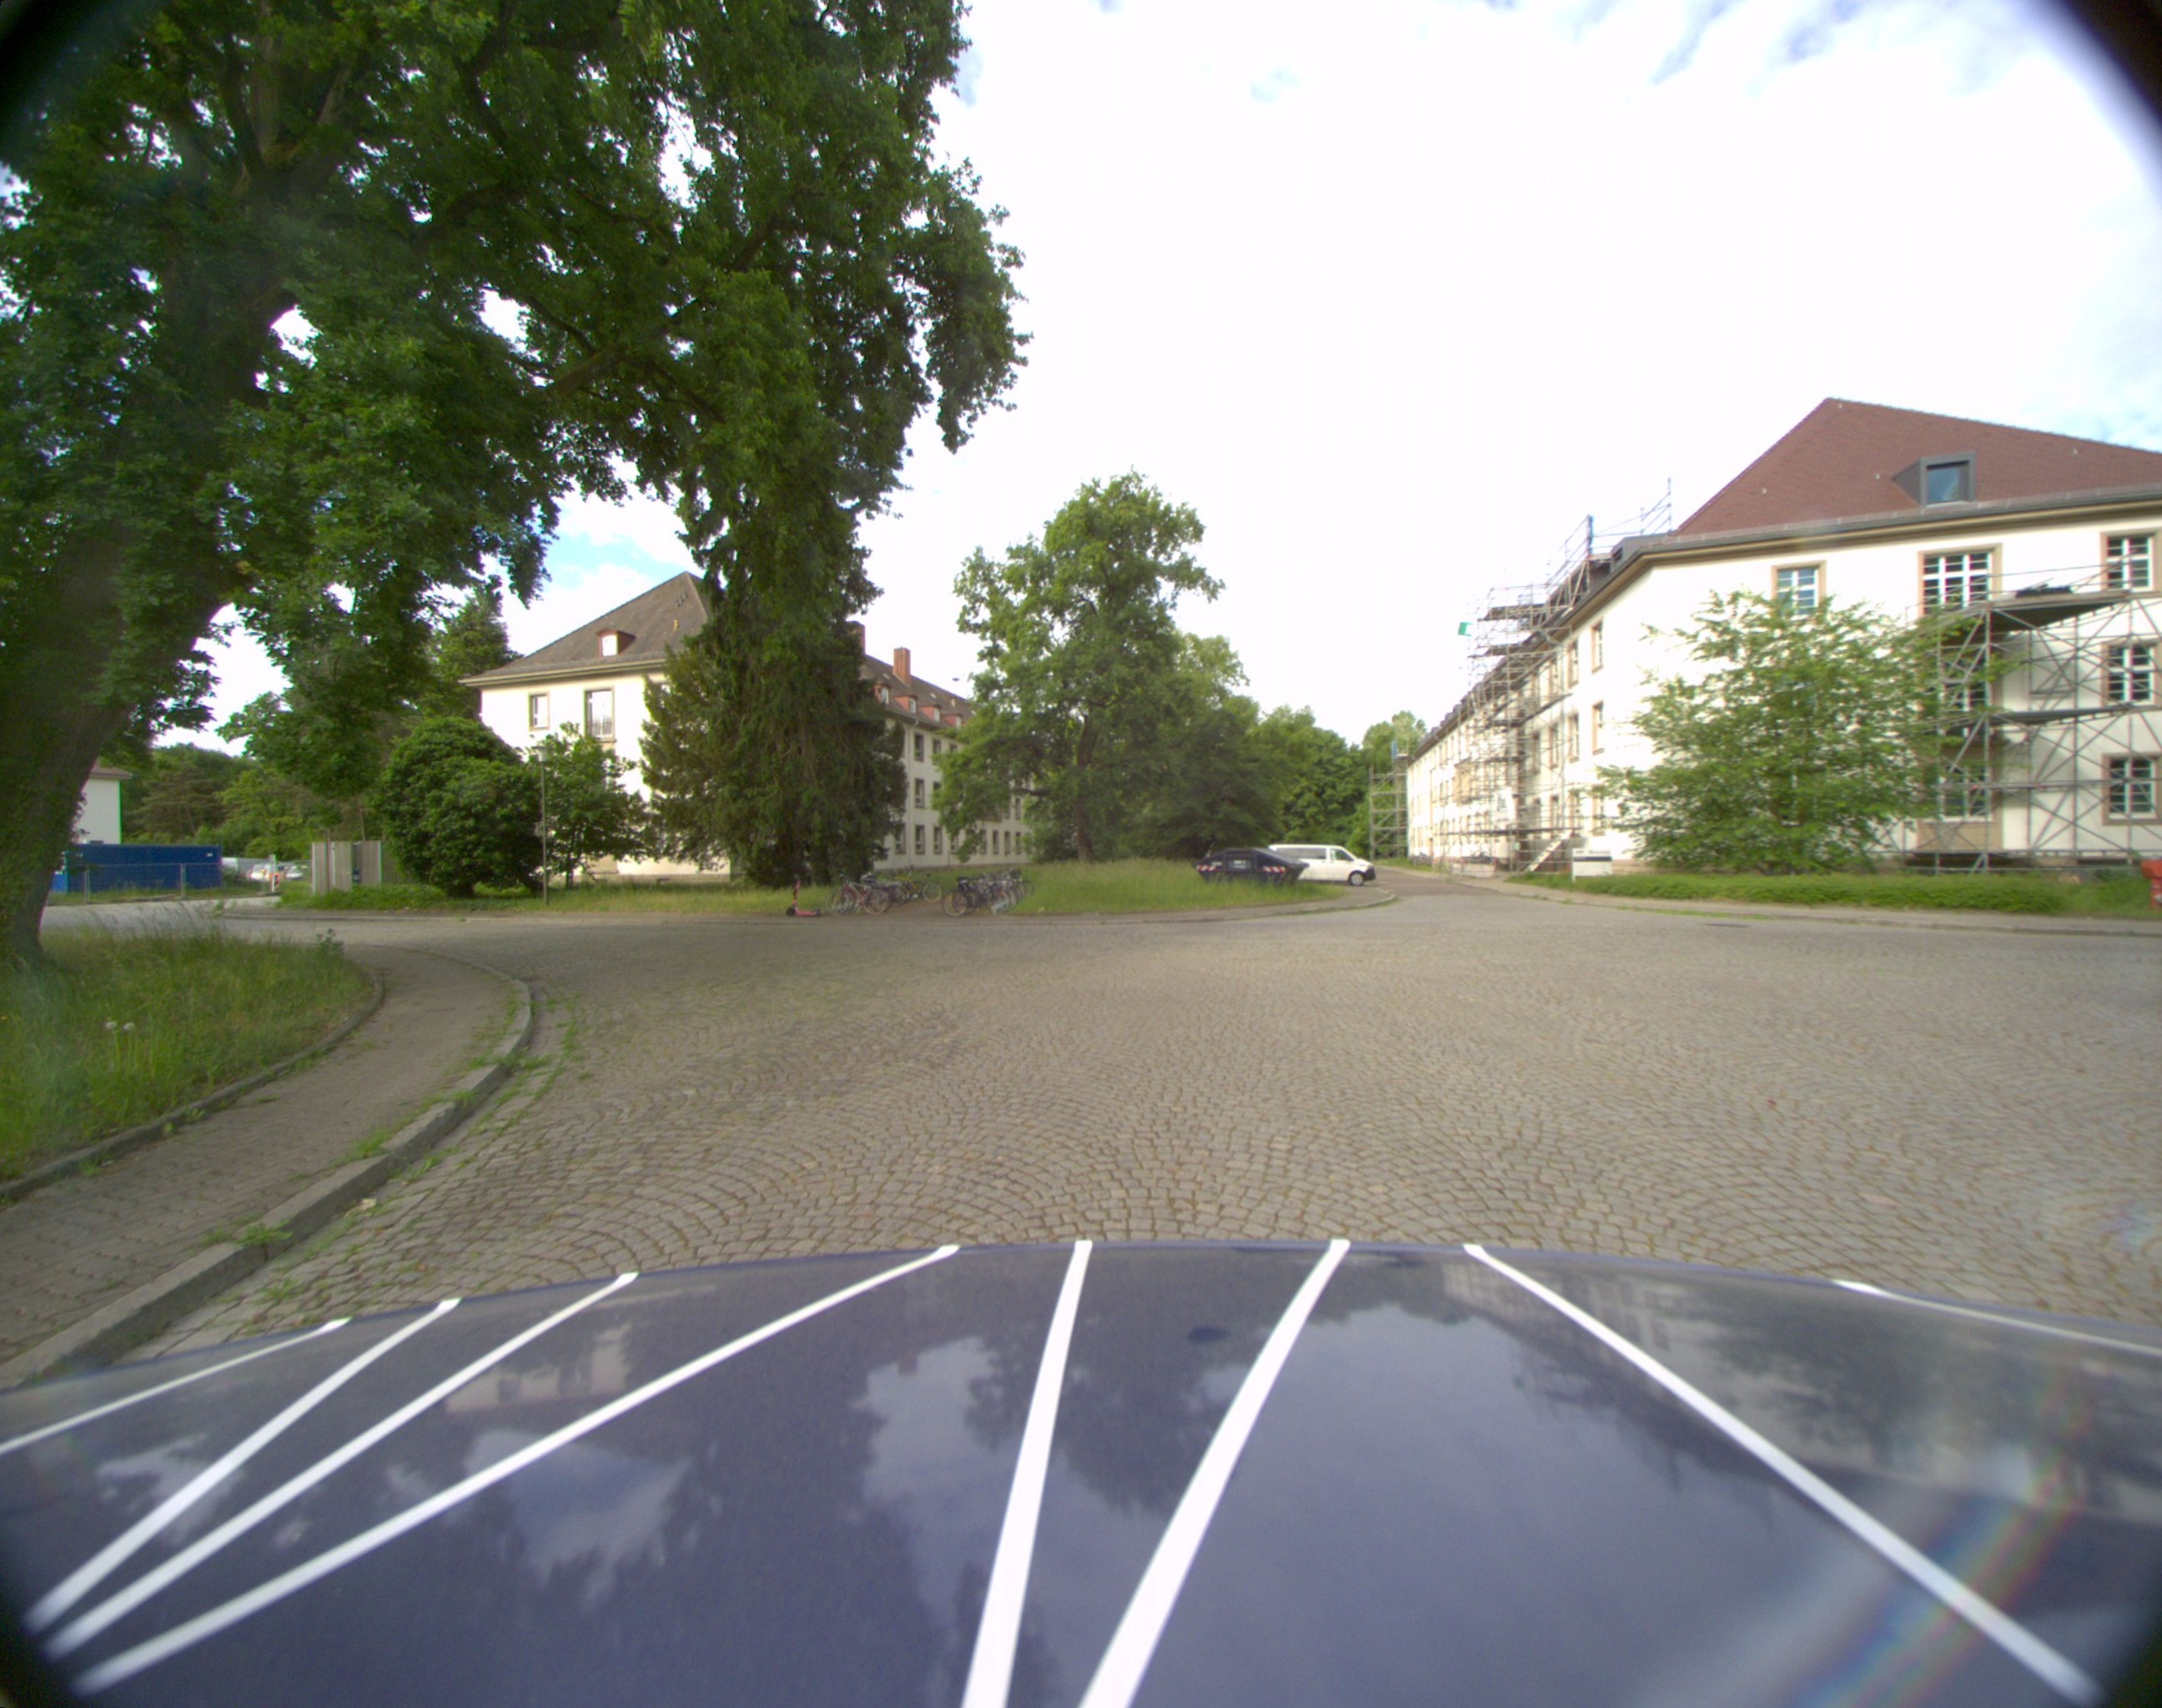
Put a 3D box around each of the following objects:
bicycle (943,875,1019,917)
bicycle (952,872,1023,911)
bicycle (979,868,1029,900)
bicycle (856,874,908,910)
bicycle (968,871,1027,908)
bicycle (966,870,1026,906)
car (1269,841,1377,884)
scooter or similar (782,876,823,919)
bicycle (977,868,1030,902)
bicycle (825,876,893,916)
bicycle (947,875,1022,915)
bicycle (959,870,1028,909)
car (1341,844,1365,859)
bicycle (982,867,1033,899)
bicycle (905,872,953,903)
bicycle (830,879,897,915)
[{"bbox_3d":[-2.681,1.124,20.486,2.017,1.082,0.478,-1,3,-6],"label":"bicycle"},{"bbox_3d":[-2.711,1.082,22.109,2.017,1.082,0.478,-1,3,-6],"label":"bicycle"},{"bbox_3d":[-2.739,1.063,27.033,1.751,1.082,0.553,-1,3,-5],"label":"bicycle"},{"bbox_3d":[-6.266,1.195,23.987,1.567,1.082,0.561,-1,1,-14],"label":"bicycle"},{"bbox_3d":[-2.591,1.092,23.561,1.788,1.082,0.478,-1,3,-6],"label":"bicycle"},{"bbox_3d":[-2.715,1.086,24.349,1.865,1.082,0.519,-1,3,-6],"label":"bicycle"},{"bbox_3d":[11.805,0.416,37.423,4.910,1.983,2.002,-1,0,14],"label":"car"},{"bbox_3d":[-7.873,1.225,21.469,1.061,1.188,0.386,-1,1,19],"label":"scooter or similar"},{"bbox_3d":[-2.668,1.068,26.255,1.808,1.082,0.553,-1,3,-5],"label":"bicycle"},{"bbox_3d":[-6.377,1.198,21.849,1.813,1.082,0.478,-1,3,-11],"label":"bicycle"},{"bbox_3d":[-2.652,1.124,20.978,2.017,1.004,0.478,-1,3,-6],"label":"bicycle"},{"bbox_3d":[-2.596,1.060,22.741,2.017,1.082,0.478,-1,3,-6],"label":"bicycle"},{"bbox_3d":[35.751,-0.295,99.824,2.026,1.915,4.002,-1,0,5],"label":"car"},{"bbox_3d":[-2.681,1.052,27.826,1.825,1.082,0.553,-1,3,-5],"label":"bicycle"},{"bbox_3d":[-5.263,1.163,26.365,1.566,1.028,0.476,-1,1,-8],"label":"bicycle"},{"bbox_3d":[-6.396,1.260,22.415,1.857,0.984,0.456,-1,1,-11],"label":"bicycle"}]
